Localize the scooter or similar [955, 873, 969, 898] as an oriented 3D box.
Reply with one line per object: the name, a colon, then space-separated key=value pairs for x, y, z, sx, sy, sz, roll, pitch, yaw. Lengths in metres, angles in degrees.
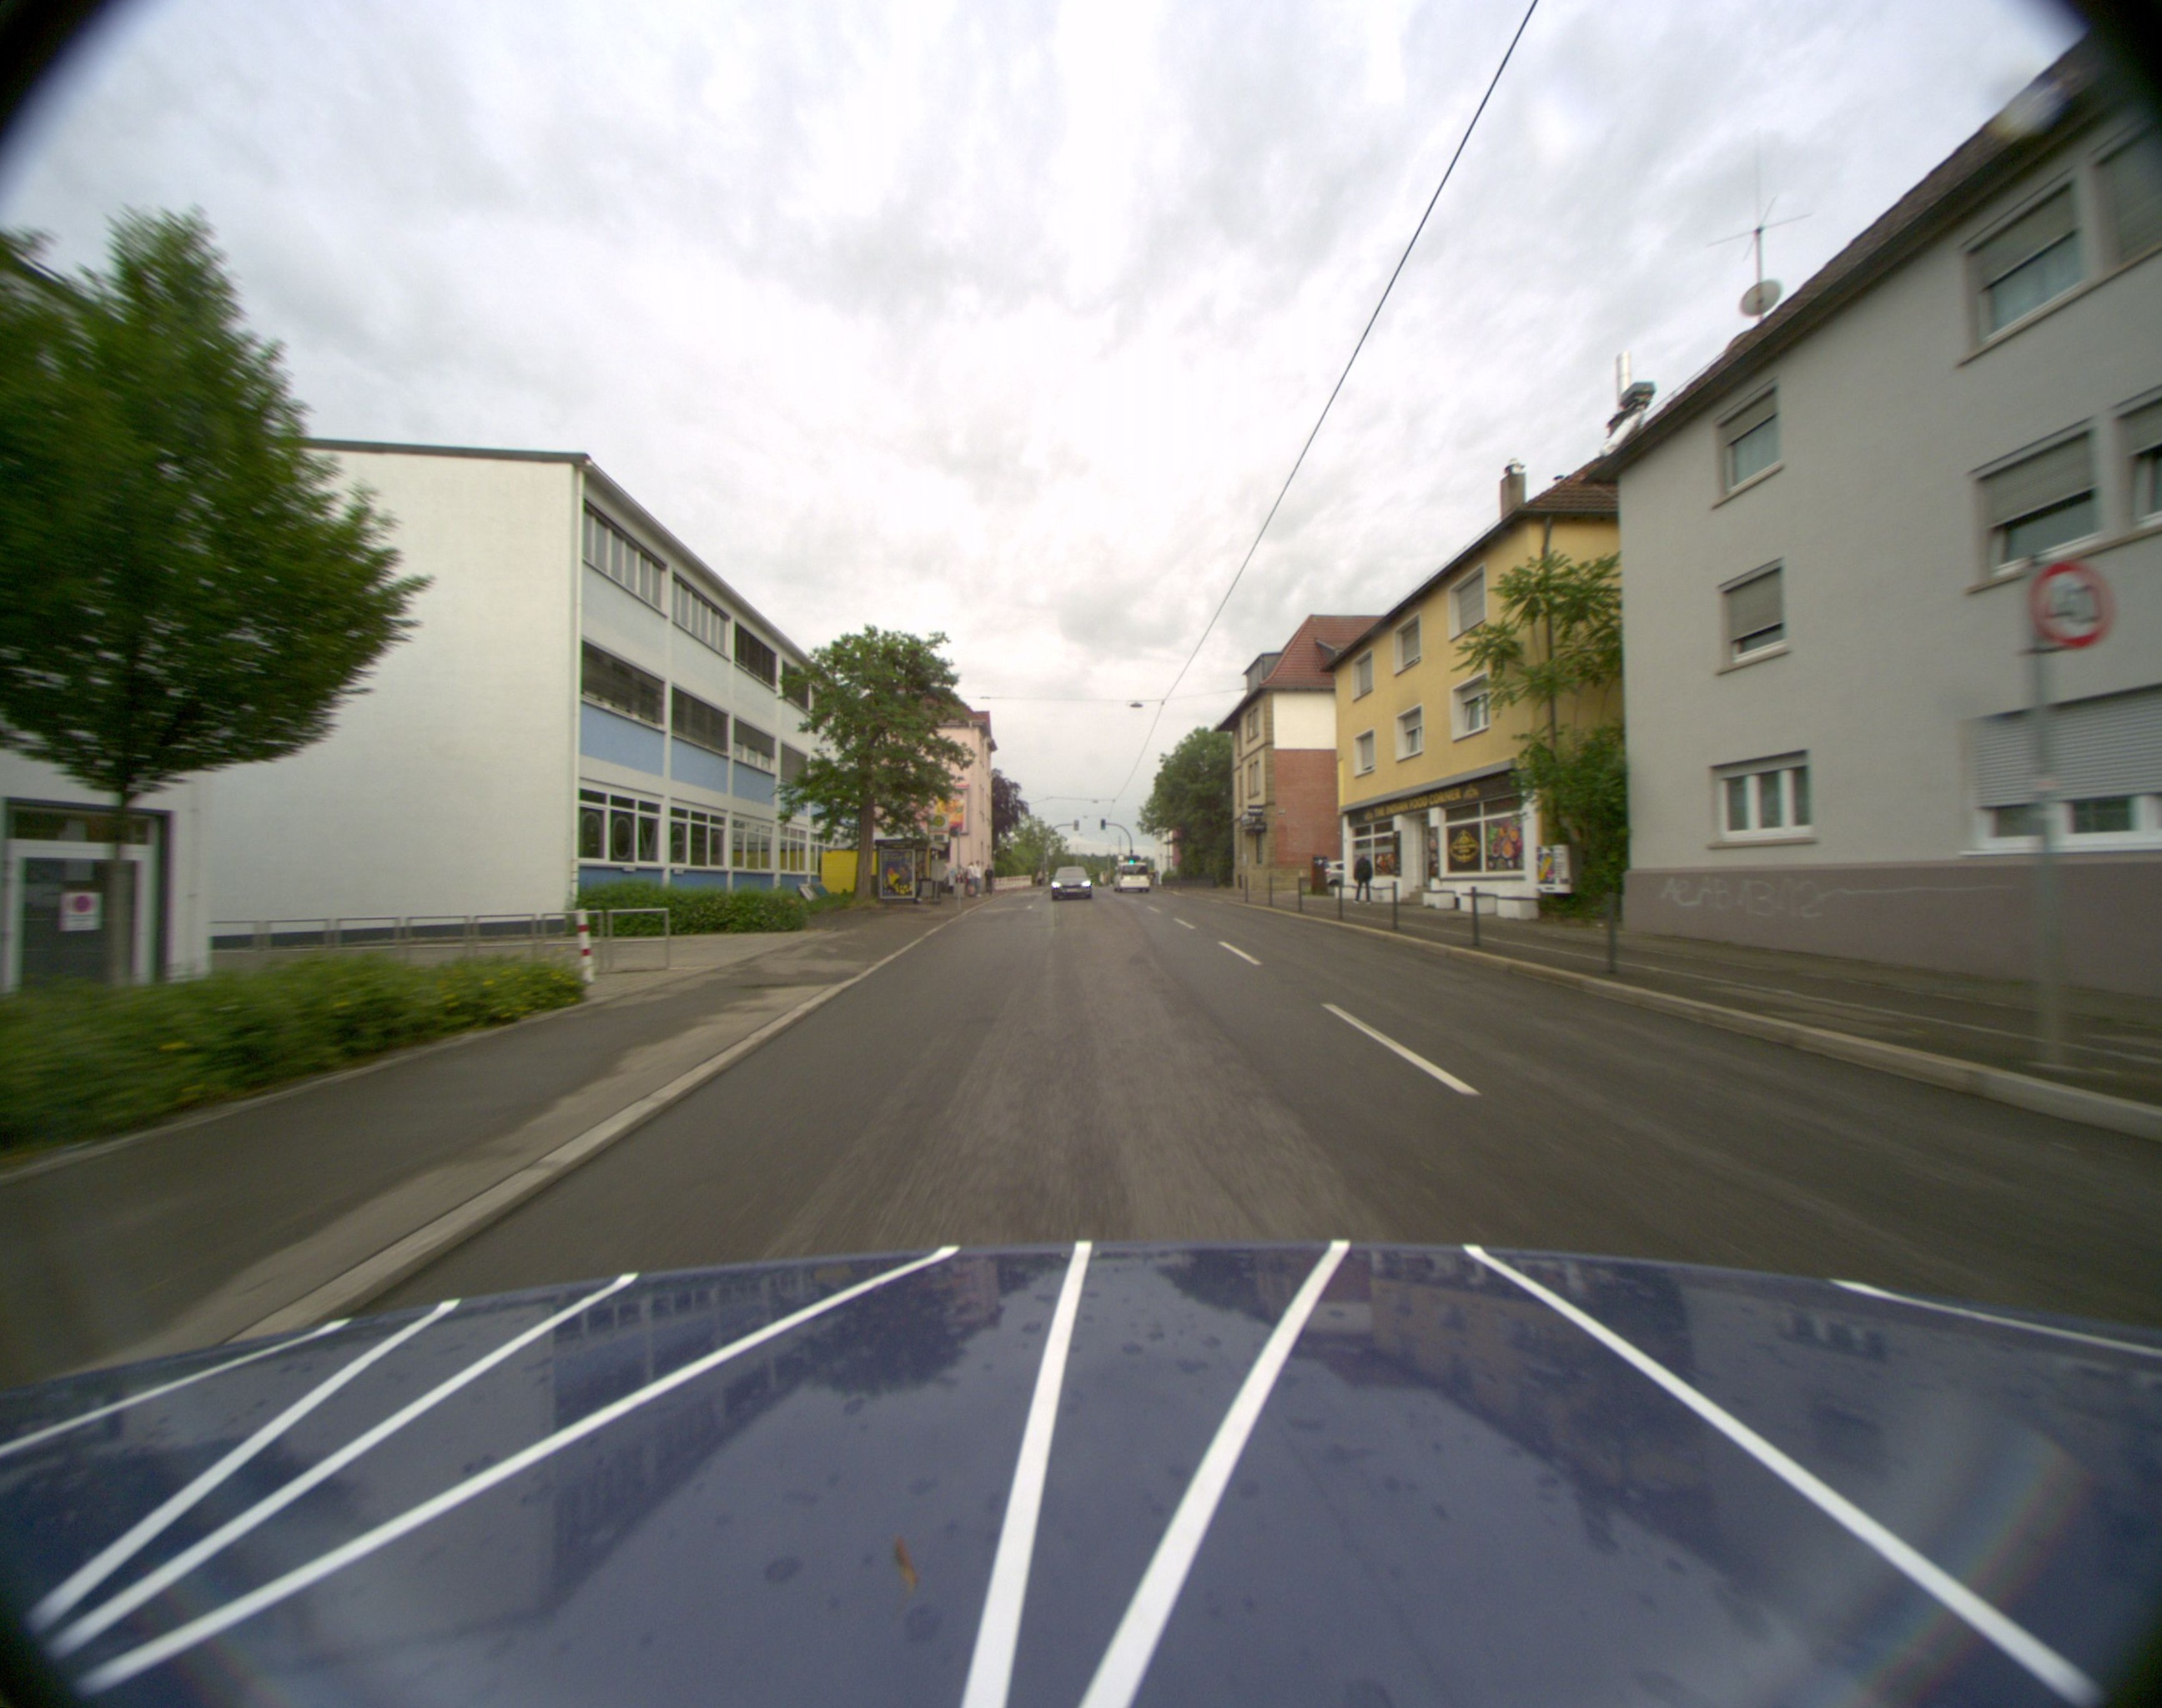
scooter or similar: x=-5.619 y=1.474 z=35.888 sx=0.619 sy=1.133 sz=0.567 roll=1 pitch=0 yaw=-6

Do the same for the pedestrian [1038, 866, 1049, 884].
pedestrian: x=-3.425 y=1.882 z=69.563 sx=0.785 sy=1.632 sz=1.222 roll=-2 pitch=-1 yaw=3

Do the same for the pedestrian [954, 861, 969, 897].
pedestrian: x=-5.728 y=1.198 z=36.529 sx=0.662 sy=1.731 sz=0.829 roll=1 pitch=-1 yaw=-6

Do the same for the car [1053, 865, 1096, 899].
car: x=-0.282 y=1.305 z=34.756 sx=1.837 sy=1.429 sz=4.002 roll=-1 pitch=-3 yaw=0

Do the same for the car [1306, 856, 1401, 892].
car: x=12.549 y=0.926 z=35.154 sx=3.574 sy=1.477 sz=1.947 roll=-3 pitch=-1 yaw=-2

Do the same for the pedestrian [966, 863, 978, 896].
pedestrian: x=-5.658 y=1.301 z=39.326 sx=0.447 sy=1.697 sz=0.557 roll=2 pitch=-1 yaw=4

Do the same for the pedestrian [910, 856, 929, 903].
pedestrian: x=-6.303 y=0.998 z=29.650 sx=0.648 sy=1.820 sz=0.741 roll=1 pitch=-1 yaw=-6

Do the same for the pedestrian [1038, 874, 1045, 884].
pedestrian: x=-6.251 y=3.989 z=119.634 sx=0.922 sy=1.537 sz=0.543 roll=1 pitch=-2 yaw=-33

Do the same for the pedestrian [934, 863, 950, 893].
pedestrian: x=-7.584 y=1.313 z=41.438 sx=0.676 sy=1.616 sz=0.623 roll=2 pitch=-1 yaw=-30

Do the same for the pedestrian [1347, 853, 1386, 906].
pedestrian: x=9.261 y=0.814 z=24.655 sx=0.817 sy=1.669 sz=0.992 roll=-2 pitch=0 yaw=-3

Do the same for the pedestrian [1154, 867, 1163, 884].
pedestrian: x=8.333 y=2.314 z=82.053 sx=0.808 sy=1.810 sz=1.116 roll=-1 pitch=-3 yaw=-1

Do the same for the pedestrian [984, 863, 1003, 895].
pedestrian: x=-4.678 y=1.336 z=40.550 sx=0.638 sy=1.700 sz=0.747 roll=2 pitch=-1 yaw=-35

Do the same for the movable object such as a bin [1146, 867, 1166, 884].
movable object such as a bin: x=17.110 y=4.940 z=173.140 sx=2.952 sy=3.819 sz=8.141 roll=-1 pitch=-3 yaw=17

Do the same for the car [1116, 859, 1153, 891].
car: x=3.216 y=1.249 z=46.197 sx=1.887 sy=1.859 sz=4.453 roll=0 pitch=0 yaw=-1

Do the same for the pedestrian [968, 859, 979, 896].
pedestrian: x=-5.467 y=1.190 z=38.713 sx=0.460 sy=1.829 sz=0.604 roll=2 pitch=-1 yaw=-6

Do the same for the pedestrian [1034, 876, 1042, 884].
pedestrian: x=-7.250 y=4.382 z=128.770 sx=1.070 sy=1.321 sz=0.808 roll=1 pitch=-2 yaw=-33

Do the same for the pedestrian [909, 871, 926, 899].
pedestrian: x=-7.271 y=1.372 z=33.781 sx=0.662 sy=1.192 sz=0.741 roll=1 pitch=-1 yaw=-6

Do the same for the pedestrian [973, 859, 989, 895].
pedestrian: x=-5.270 y=1.203 z=39.975 sx=0.487 sy=1.864 sz=0.634 roll=2 pitch=-1 yaw=27

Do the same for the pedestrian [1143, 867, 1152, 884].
pedestrian: x=7.211 y=2.334 z=82.317 sx=0.864 sy=1.871 sz=1.044 roll=0 pitch=-2 yaw=-3

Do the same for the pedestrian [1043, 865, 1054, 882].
pedestrian: x=-3.089 y=1.880 z=72.114 sx=0.877 sy=1.551 sz=1.049 roll=-2 pitch=-1 yaw=3

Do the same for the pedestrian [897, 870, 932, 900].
pedestrian: x=-7.061 y=1.307 z=32.245 sx=1.359 sy=1.265 sz=0.741 roll=1 pitch=-1 yaw=-6
